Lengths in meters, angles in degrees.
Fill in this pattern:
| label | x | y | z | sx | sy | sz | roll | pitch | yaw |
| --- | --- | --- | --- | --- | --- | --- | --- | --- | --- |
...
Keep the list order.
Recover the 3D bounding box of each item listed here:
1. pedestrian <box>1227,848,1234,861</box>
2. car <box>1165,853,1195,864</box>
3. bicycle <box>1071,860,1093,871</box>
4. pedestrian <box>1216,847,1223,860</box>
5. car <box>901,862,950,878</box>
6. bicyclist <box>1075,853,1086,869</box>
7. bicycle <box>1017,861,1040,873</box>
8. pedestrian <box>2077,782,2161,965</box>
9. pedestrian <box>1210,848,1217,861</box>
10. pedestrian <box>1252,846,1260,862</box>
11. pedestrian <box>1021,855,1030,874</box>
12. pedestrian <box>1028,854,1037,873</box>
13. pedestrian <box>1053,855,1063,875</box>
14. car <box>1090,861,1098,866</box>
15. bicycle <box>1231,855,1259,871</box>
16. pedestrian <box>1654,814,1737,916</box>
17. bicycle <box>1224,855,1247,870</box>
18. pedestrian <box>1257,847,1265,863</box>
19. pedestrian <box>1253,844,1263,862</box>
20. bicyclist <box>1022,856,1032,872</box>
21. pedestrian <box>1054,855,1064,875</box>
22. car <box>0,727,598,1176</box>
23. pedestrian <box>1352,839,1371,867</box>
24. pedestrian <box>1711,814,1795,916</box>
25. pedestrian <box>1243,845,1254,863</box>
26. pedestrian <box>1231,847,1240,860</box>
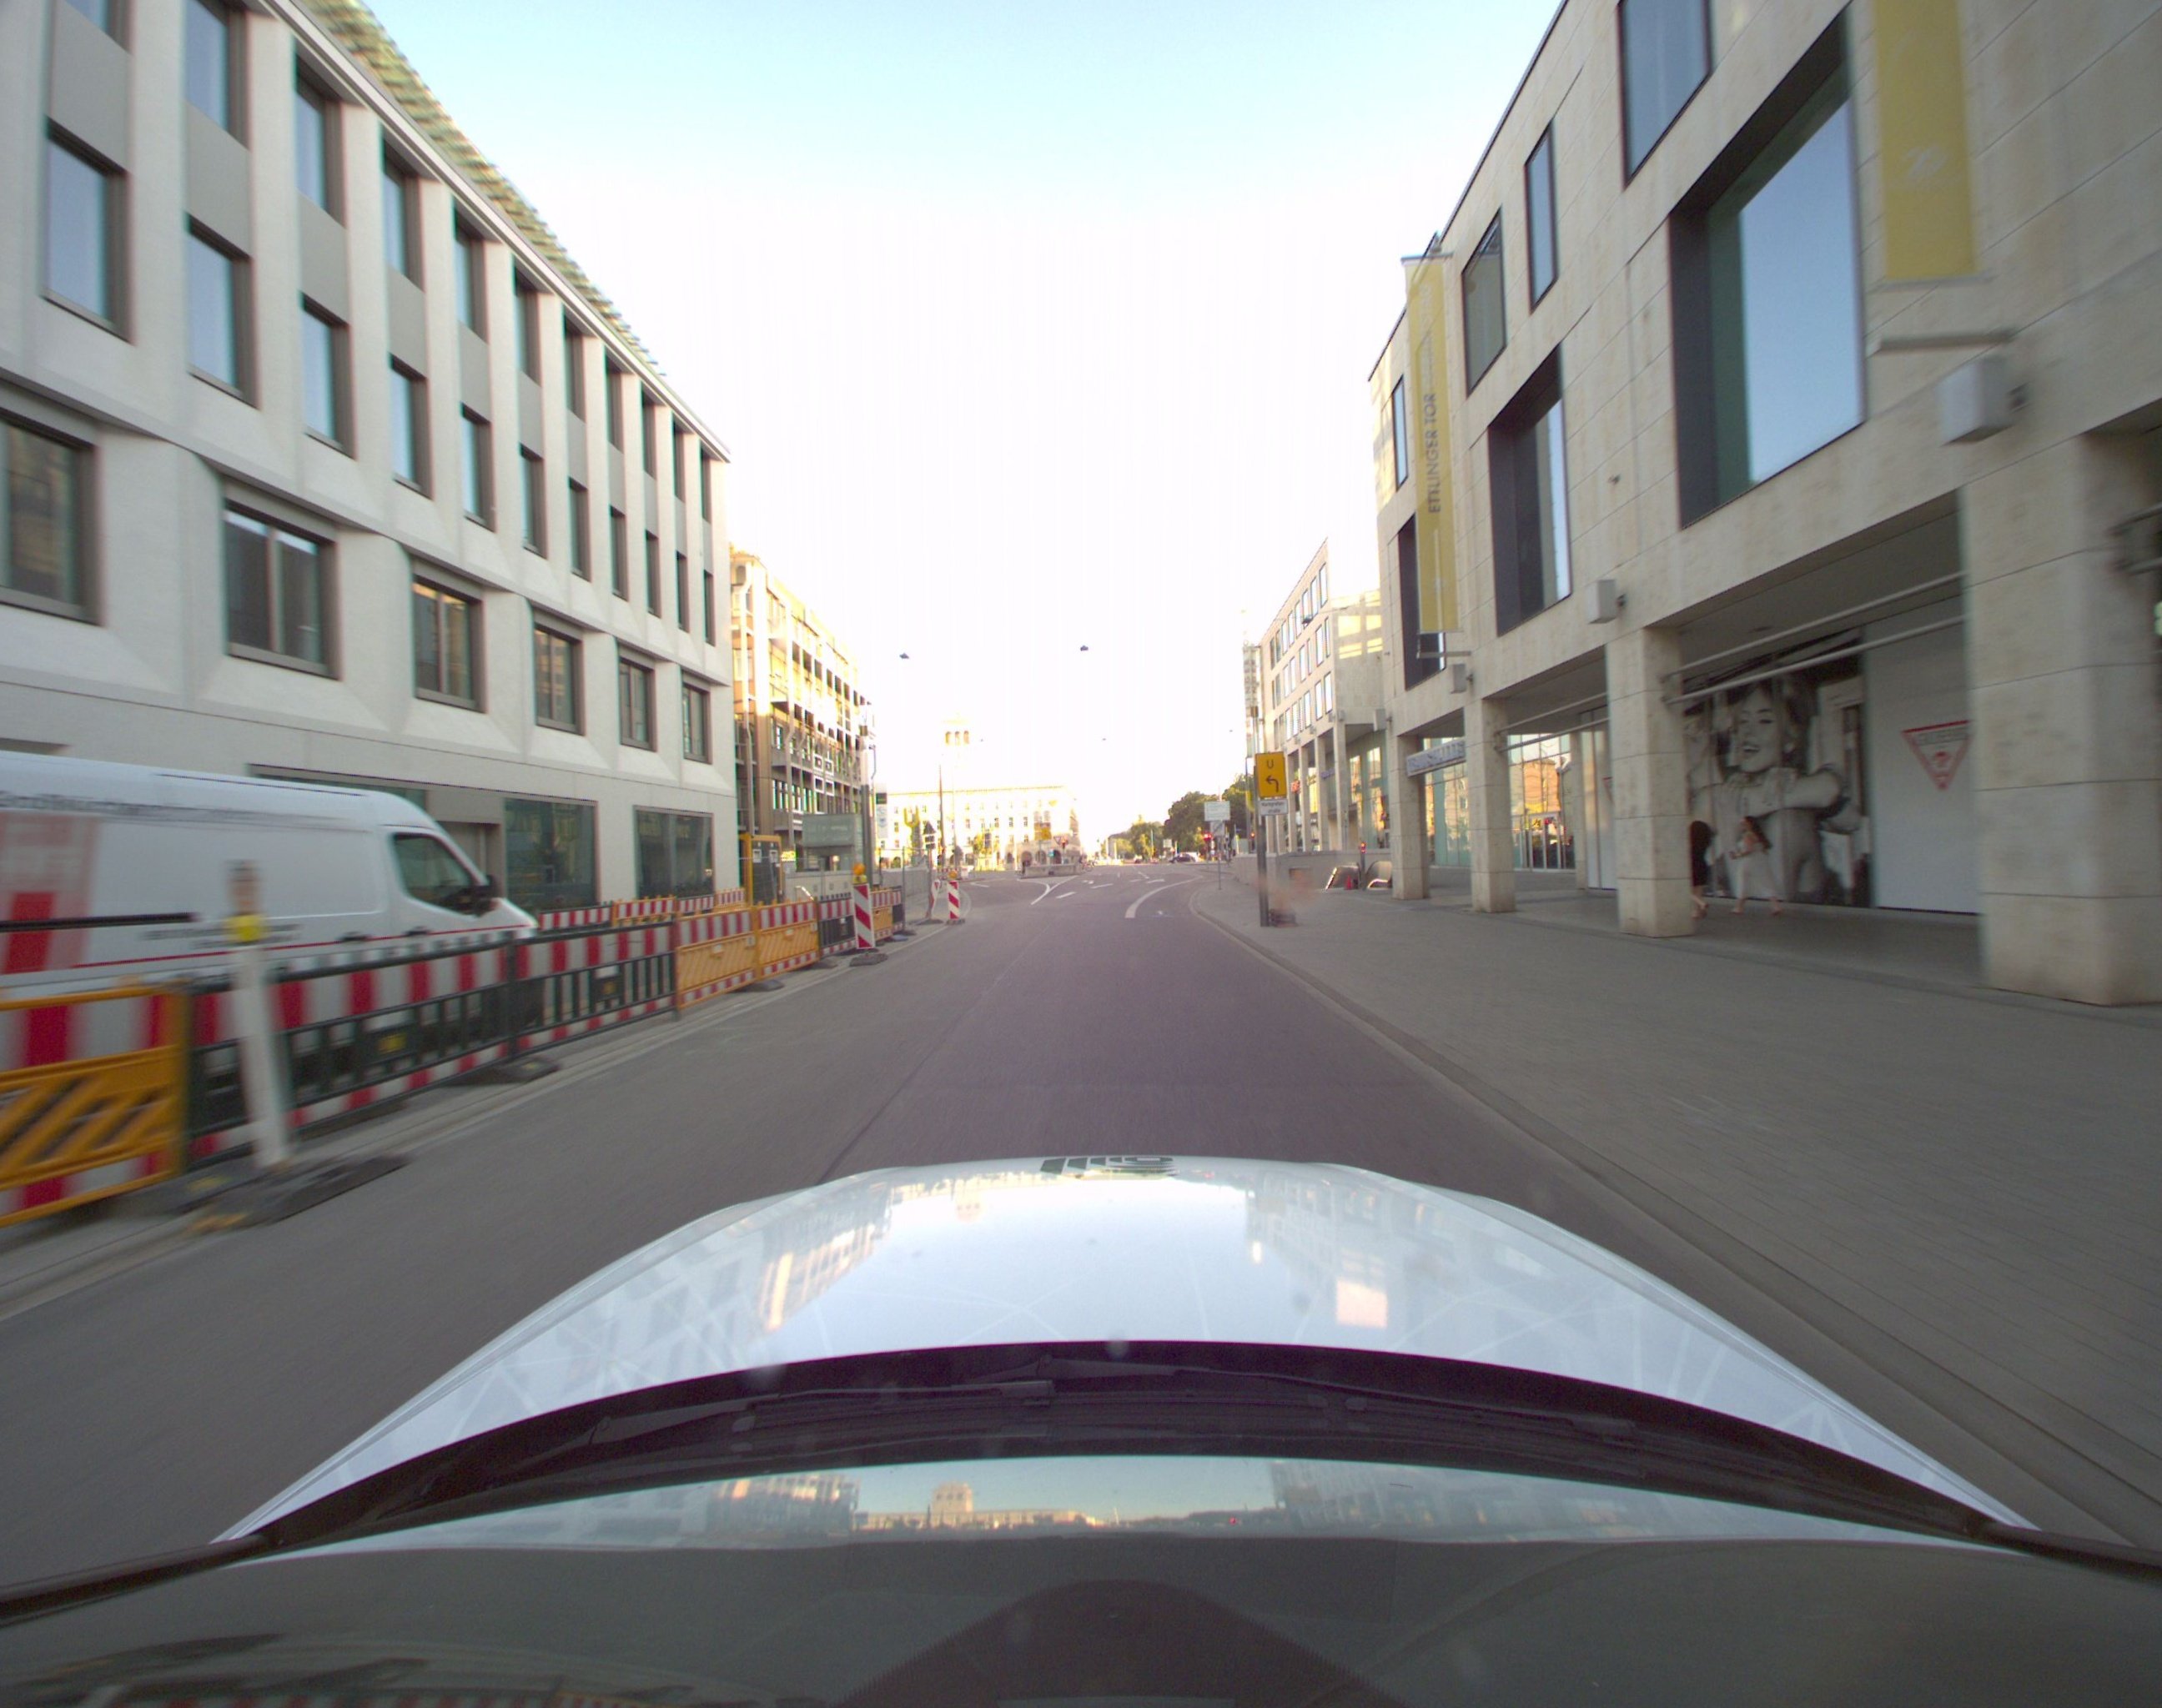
| label | x | y | z | sx | sy | sz | roll | pitch | yaw |
| --- | --- | --- | --- | --- | --- | --- | --- | --- | --- |
| pedestrian | 20.672 | 0.102 | 112.579 | 0.802 | 1.730 | 0.691 | -2 | 0 | 15 |
| car | 14.641 | 0.681 | 120.052 | 3.986 | 1.494 | 1.823 | -3 | 0 | -9 |
| bicycle | 0.087 | 1.192 | 83.698 | 2.233 | 1.062 | 0.654 | -3 | 0 | 2 |
| pedestrian | 19.141 | -0.018 | 112.626 | 0.805 | 1.730 | 0.688 | -2 | 0 | 1 |
| car | -17.074 | 1.761 | 89.568 | 4.778 | 1.496 | 2.129 | -2 | 0 | 2 |
| bicyclist | -0.021 | 0.678 | 83.701 | 1.015 | 1.621 | 0.654 | -3 | 0 | 2 |
| bicycle | -5.417 | 1.344 | 83.516 | 2.232 | 1.062 | 0.654 | -3 | 0 | 4 |
| pedestrian | 9.570 | 0.152 | 7.176 | 0.631 | 1.567 | 0.775 | -2 | 1 | 2 |
| pedestrian | 18.376 | 0.101 | 112.584 | 0.805 | 1.730 | 0.688 | -2 | 0 | 1 |
| pedestrian | 20.133 | -0.003 | 93.790 | 0.831 | 1.730 | 0.690 | -2 | 0 | 9 |
| pedestrian | -5.344 | 1.021 | 78.403 | 0.736 | 1.777 | 0.863 | -5 | 0 | 0 |
| pedestrian | -4.704 | 0.945 | 79.081 | 0.736 | 1.777 | 0.863 | -5 | 0 | 0 |
| pedestrian | -2.128 | 1.008 | 76.010 | 0.739 | 1.777 | 0.859 | -1 | 0 | -13 |
| car | 3.878 | 2.854 | 240.127 | 1.984 | 1.519 | 4.005 | -3 | 0 | 4 |
| bicycle | 11.799 | 0.663 | 58.486 | 1.888 | 1.048 | 0.572 | -2 | 0 | 7 |
| pedestrian | 9.679 | 0.174 | 12.848 | 0.721 | 1.542 | 0.729 | -2 | -1 | 2 |
| bicycle | 12.956 | 0.699 | 68.248 | 1.803 | 1.212 | 0.573 | -2 | -1 | 18 |
| pedestrian | 20.113 | 0.085 | 90.846 | 0.688 | 1.730 | 0.742 | -2 | 0 | 4 |
| pedestrian | 18.118 | -0.052 | 83.438 | 0.753 | 1.777 | 0.741 | -5 | 0 | 3 |
| bicyclist | -5.535 | 1.007 | 83.529 | 0.875 | 1.531 | 0.654 | -3 | 0 | 4 |
| pedestrian | -2.027 | 0.982 | 75.021 | 0.738 | 1.777 | 0.861 | -4 | 0 | -8 |
| car | -6.949 | 0.576 | 6.644 | 2.165 | 2.470 | 6.002 | -2 | 0 | 2 |
| pedestrian | 18.983 | -0.072 | 55.184 | 0.857 | 1.777 | 0.991 | -4 | 0 | 1 |
| pedestrian | 10.622 | 0.172 | 12.897 | 0.631 | 1.542 | 0.775 | -2 | -1 | 2 |
| pedestrian | 17.224 | 0.027 | 83.558 | 0.857 | 1.777 | 0.741 | -5 | 0 | 3 |
| pedestrian | 21.369 | -0.089 | 112.603 | 0.812 | 1.730 | 0.682 | -2 | 0 | -24 |
